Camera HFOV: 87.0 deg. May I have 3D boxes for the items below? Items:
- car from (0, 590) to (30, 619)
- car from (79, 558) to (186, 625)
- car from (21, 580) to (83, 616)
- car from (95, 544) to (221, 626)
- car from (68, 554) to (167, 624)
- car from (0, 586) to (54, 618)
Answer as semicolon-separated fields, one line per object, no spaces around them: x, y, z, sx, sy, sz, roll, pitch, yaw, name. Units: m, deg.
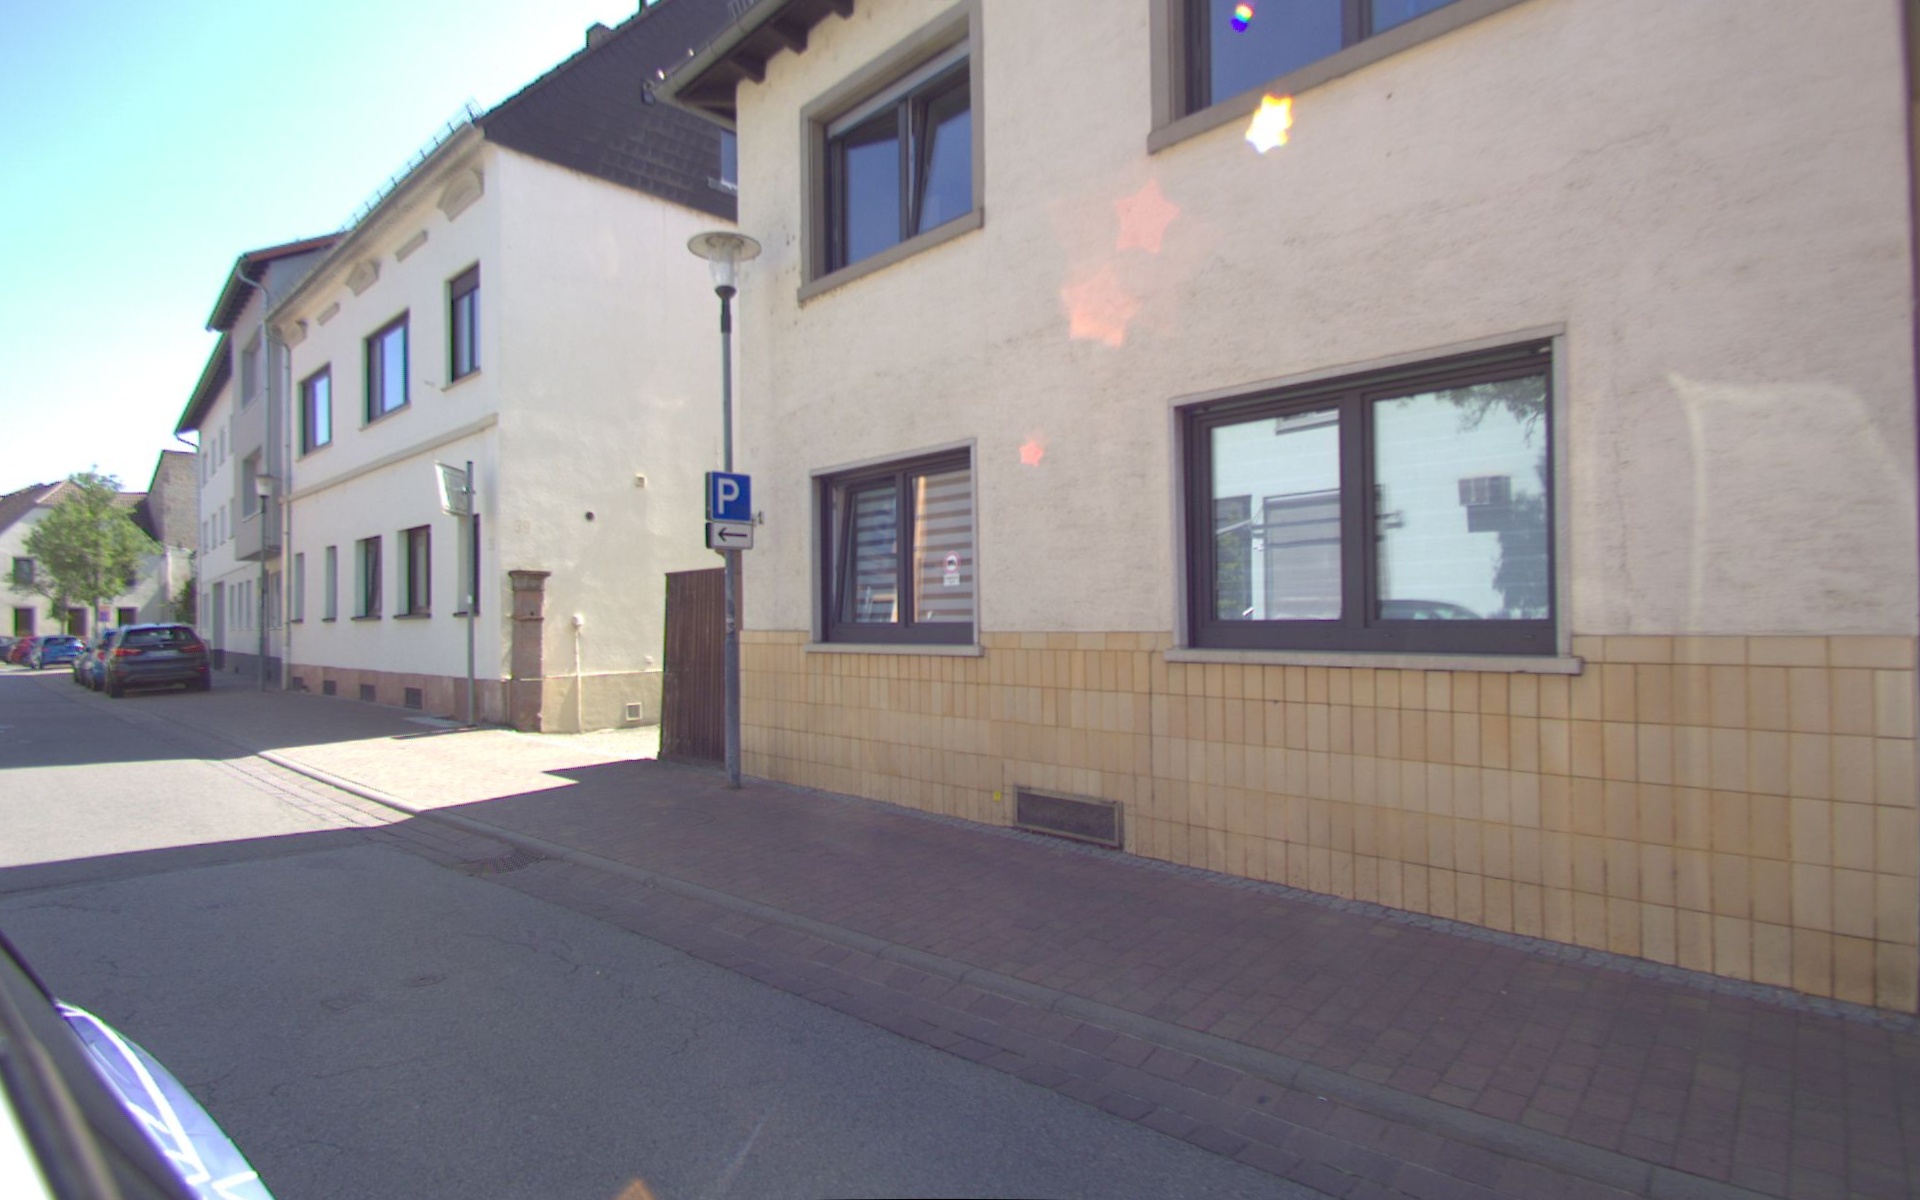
-51.362;0.262;54.399;3.798;1.472;1.551;-1;0;40;car
-22.362;-0.212;27.290;1.890;1.626;3.989;-2;0;-44;car
-40.642;-0.037;45.266;3.798;1.472;1.551;-2;-3;40;car
-18.717;-0.316;23.547;1.838;1.641;4.051;-7;4;-43;car
-25.477;-0.299;30.558;1.970;1.962;4.112;-2;0;-44;car
-45.539;0.113;49.301;3.798;1.472;1.551;-1;0;40;car
